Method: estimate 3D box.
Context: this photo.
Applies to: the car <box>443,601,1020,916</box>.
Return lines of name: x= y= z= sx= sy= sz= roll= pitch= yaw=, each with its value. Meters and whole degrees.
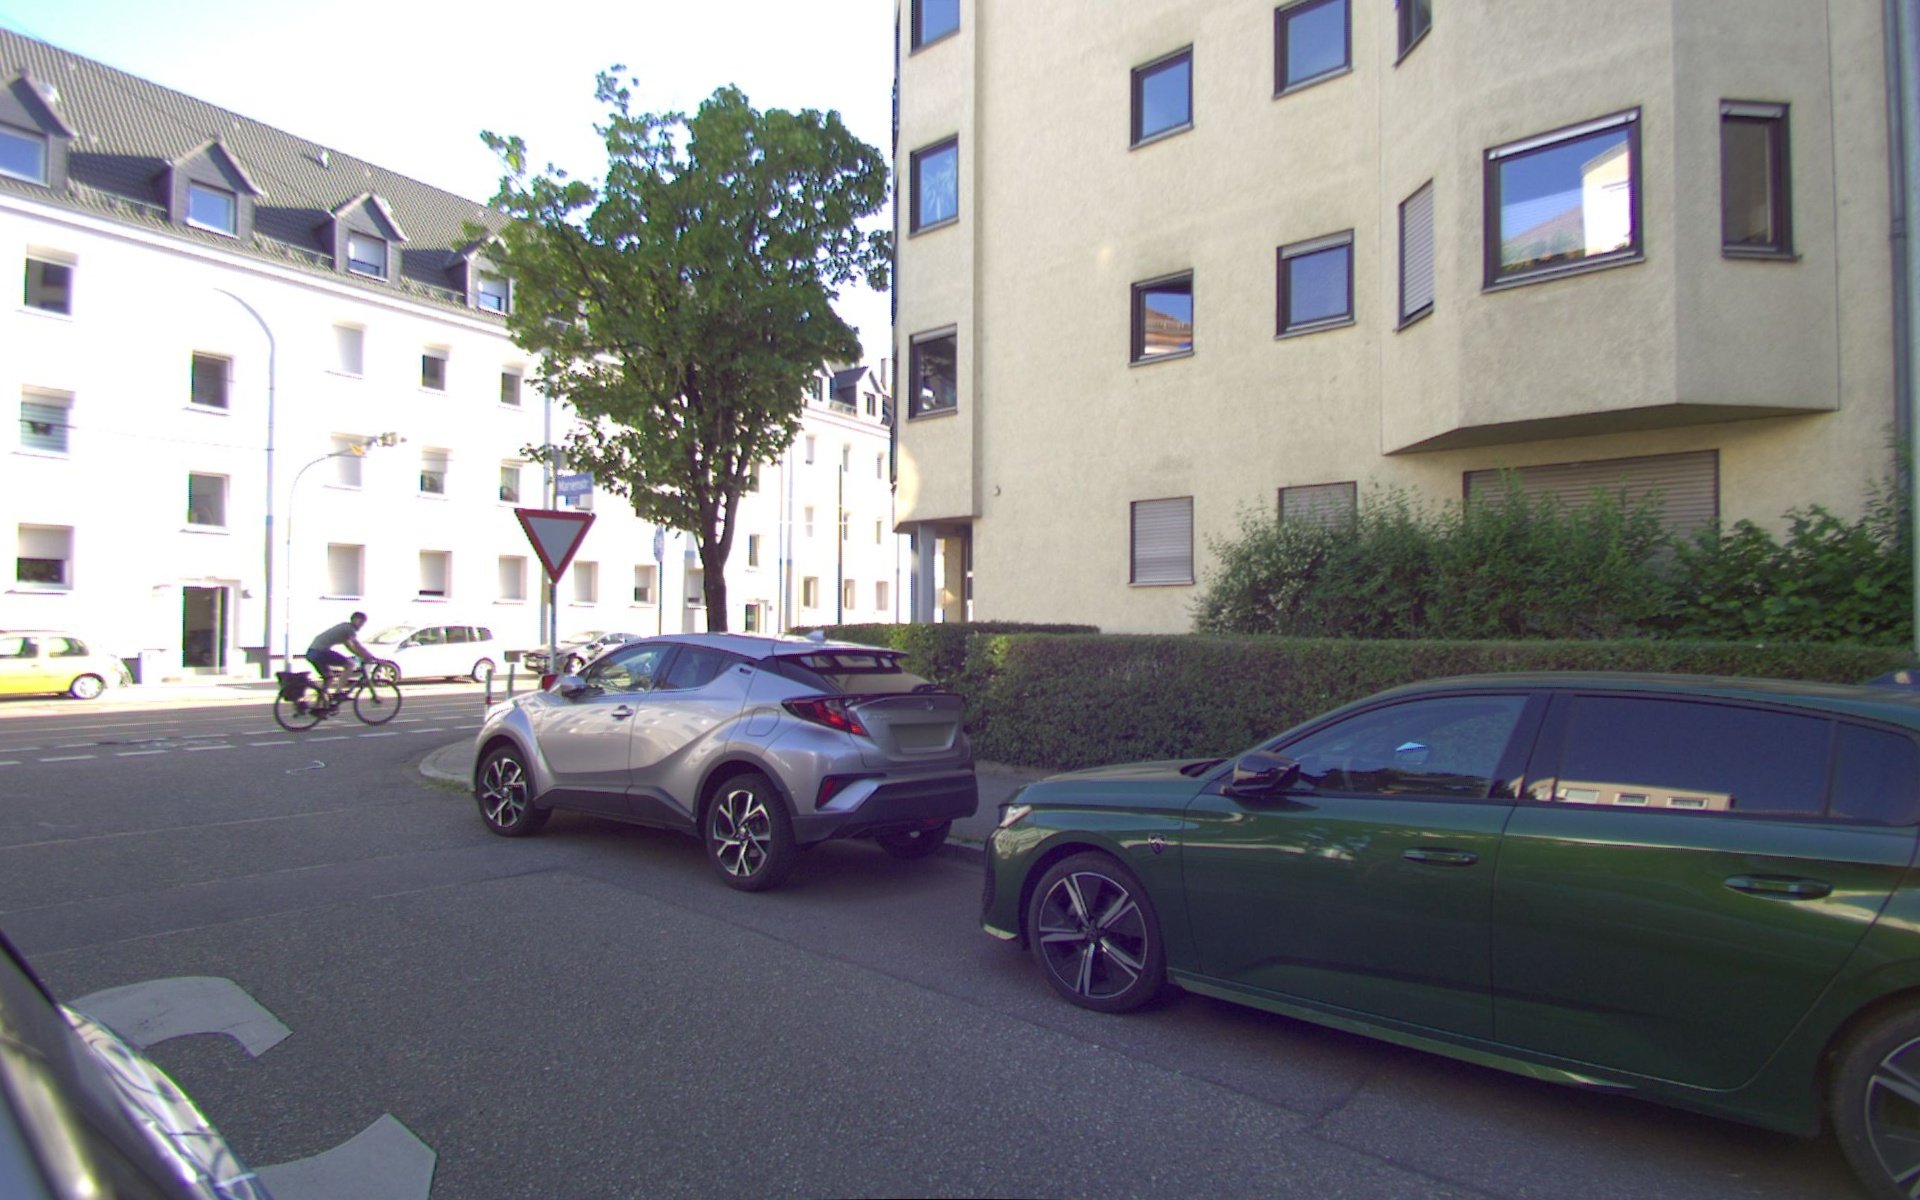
car: x=-1.761 y=0.916 z=7.345 sx=3.992 sy=1.672 sz=1.886 roll=-1 pitch=-4 yaw=36

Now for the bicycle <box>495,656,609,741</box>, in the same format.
bicycle: x=-5.830 y=1.371 z=14.415 sx=1.879 sy=1.093 sz=0.588 roll=-1 pitch=-2 yaw=36

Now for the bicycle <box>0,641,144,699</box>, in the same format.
bicycle: x=-19.956 y=1.529 z=22.714 sx=1.096 sy=1.206 sz=2.301 roll=-1 pitch=-2 yaw=32

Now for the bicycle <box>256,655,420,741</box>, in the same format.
bicycle: x=-8.994 y=1.385 z=14.724 sx=0.622 sy=1.110 sz=1.938 roll=1 pitch=-1 yaw=33

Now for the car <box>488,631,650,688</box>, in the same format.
car: x=-11.948 y=1.770 z=31.163 sx=1.866 sy=1.566 sz=4.314 roll=1 pitch=-1 yaw=35

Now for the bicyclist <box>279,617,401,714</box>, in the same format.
bicyclist: x=-9.018 y=0.922 z=14.738 sx=1.183 sy=1.340 sz=1.083 roll=-1 pitch=-2 yaw=32

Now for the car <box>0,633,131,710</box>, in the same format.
car: x=-19.087 y=1.397 z=19.821 sx=1.514 sy=1.441 sz=4.154 roll=0 pitch=-1 yaw=33

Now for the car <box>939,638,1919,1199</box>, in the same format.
car: x=2.066 y=0.947 z=3.821 sx=4.131 sy=1.508 sz=1.735 roll=-1 pitch=-4 yaw=39

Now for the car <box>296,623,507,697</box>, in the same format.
car: x=-14.552 y=1.513 z=26.663 sx=1.754 sy=1.678 sz=4.577 roll=3 pitch=0 yaw=31
